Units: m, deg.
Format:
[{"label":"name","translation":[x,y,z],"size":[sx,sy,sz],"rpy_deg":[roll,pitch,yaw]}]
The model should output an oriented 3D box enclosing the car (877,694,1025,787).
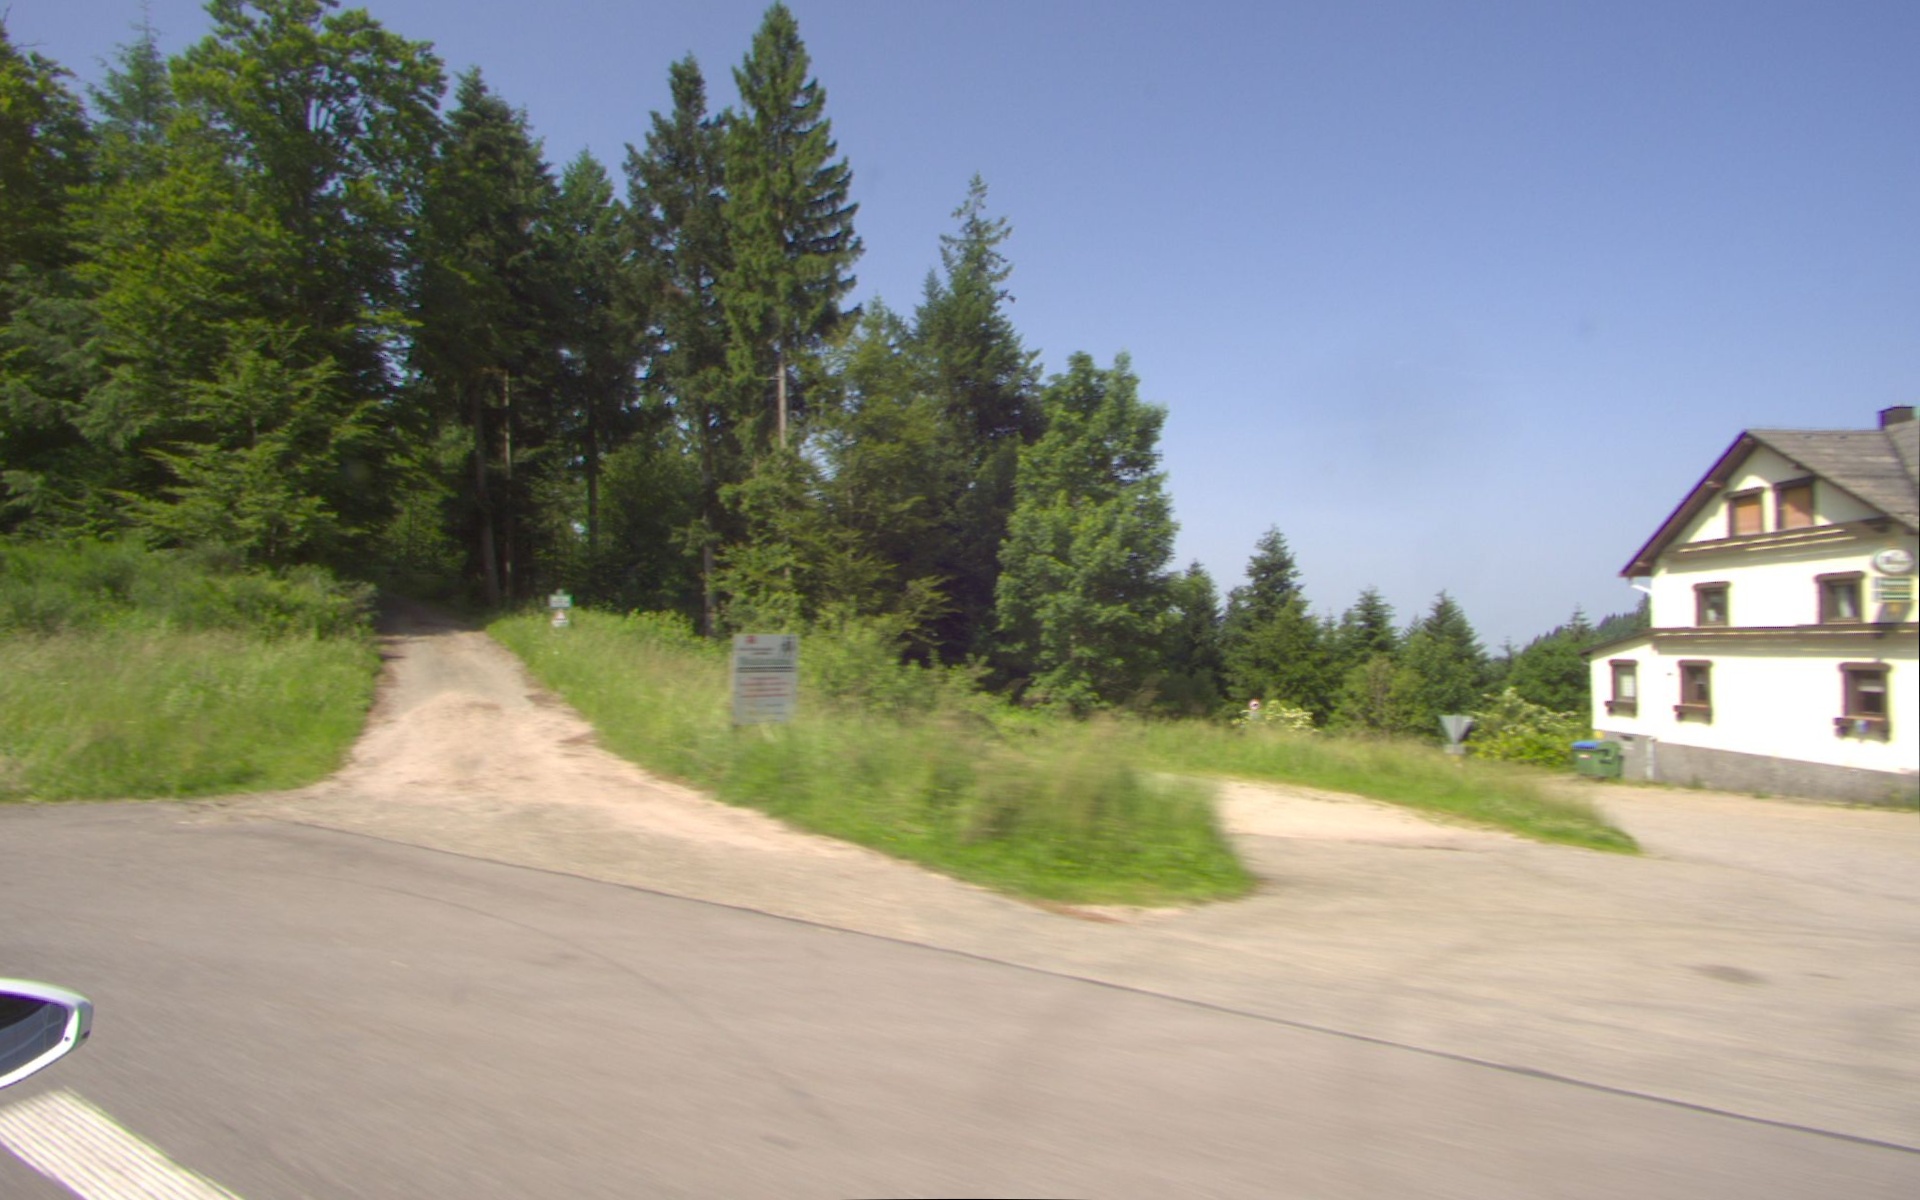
[{"label":"car","translation":[-0.303,3.089,22.527],"size":[1.909,1.612,3.990],"rpy_deg":[6,-4,-21]}]
